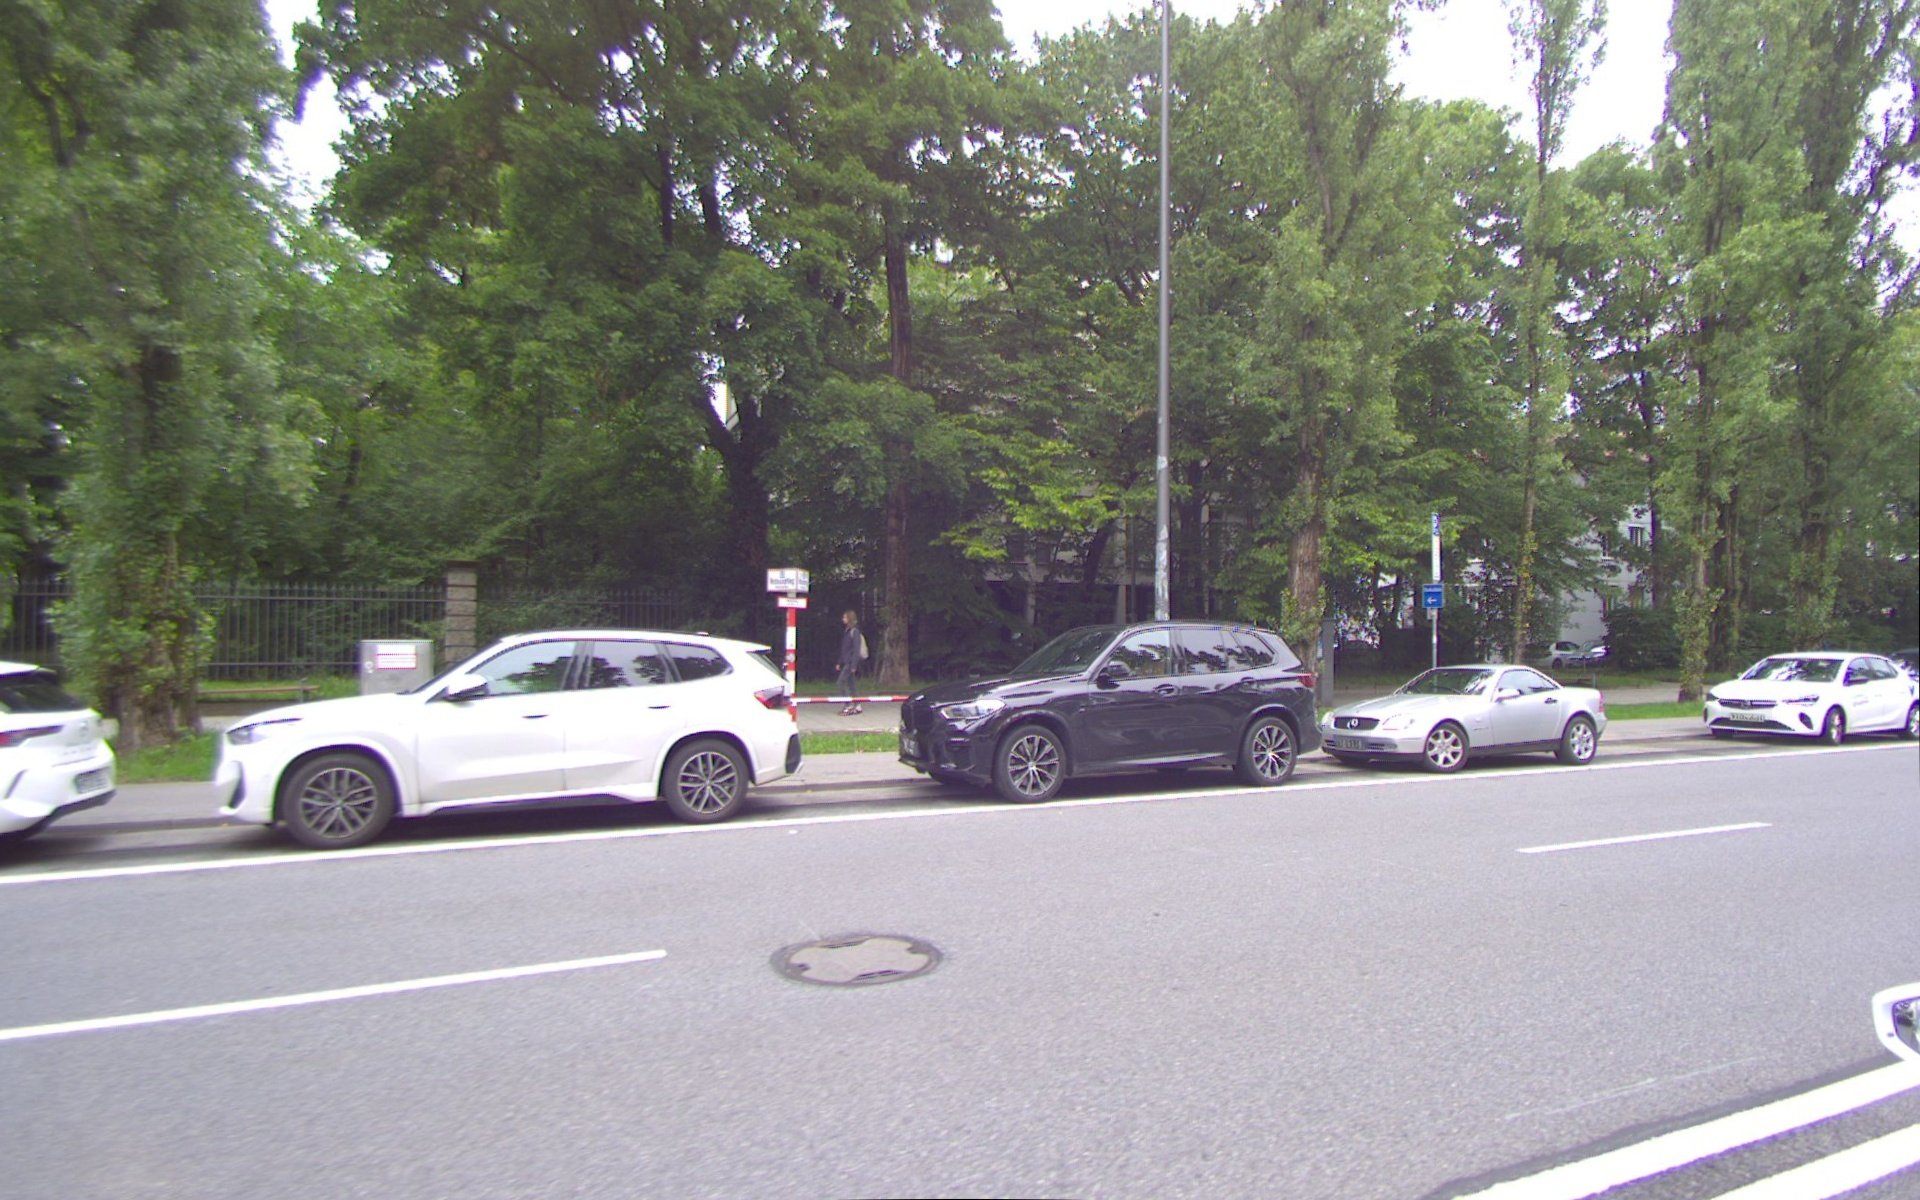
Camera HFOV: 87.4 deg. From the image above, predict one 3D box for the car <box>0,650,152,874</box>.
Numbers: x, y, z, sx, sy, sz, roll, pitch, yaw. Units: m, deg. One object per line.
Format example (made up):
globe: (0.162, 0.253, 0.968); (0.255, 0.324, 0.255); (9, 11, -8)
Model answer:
car: (-8.164, 1.041, 6.529); (4.179, 1.440, 1.672); (2, -3, -24)

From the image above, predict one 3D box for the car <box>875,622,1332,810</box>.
car: (1.582, 1.140, 10.896); (4.654, 1.680, 1.875); (1, -4, -25)

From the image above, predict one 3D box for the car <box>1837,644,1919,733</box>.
car: (18.337, 1.604, 18.706); (4.068, 1.538, 1.736); (2, -3, -29)

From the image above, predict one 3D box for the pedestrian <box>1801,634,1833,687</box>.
pedestrian: (28.929, 2.026, 33.894); (0.631, 1.762, 0.598); (1, -2, -24)

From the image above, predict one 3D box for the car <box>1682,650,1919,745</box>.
car: (14.229, 1.574, 16.867); (3.950, 1.431, 1.681); (2, -3, -25)

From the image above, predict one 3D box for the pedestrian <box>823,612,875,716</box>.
pedestrian: (-2.008, 1.138, 18.099); (0.764, 1.839, 0.638); (1, -1, -24)

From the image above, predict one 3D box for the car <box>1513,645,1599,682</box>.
car: (29.665, 3.124, 50.000); (4.219, 1.706, 1.983); (2, -2, -32)

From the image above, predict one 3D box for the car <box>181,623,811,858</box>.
car: (-3.643, 1.046, 8.593); (4.398, 1.609, 1.782); (1, -4, -23)

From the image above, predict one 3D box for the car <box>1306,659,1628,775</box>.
car: (6.643, 1.444, 13.140); (3.971, 1.321, 1.577); (1, -3, -23)
